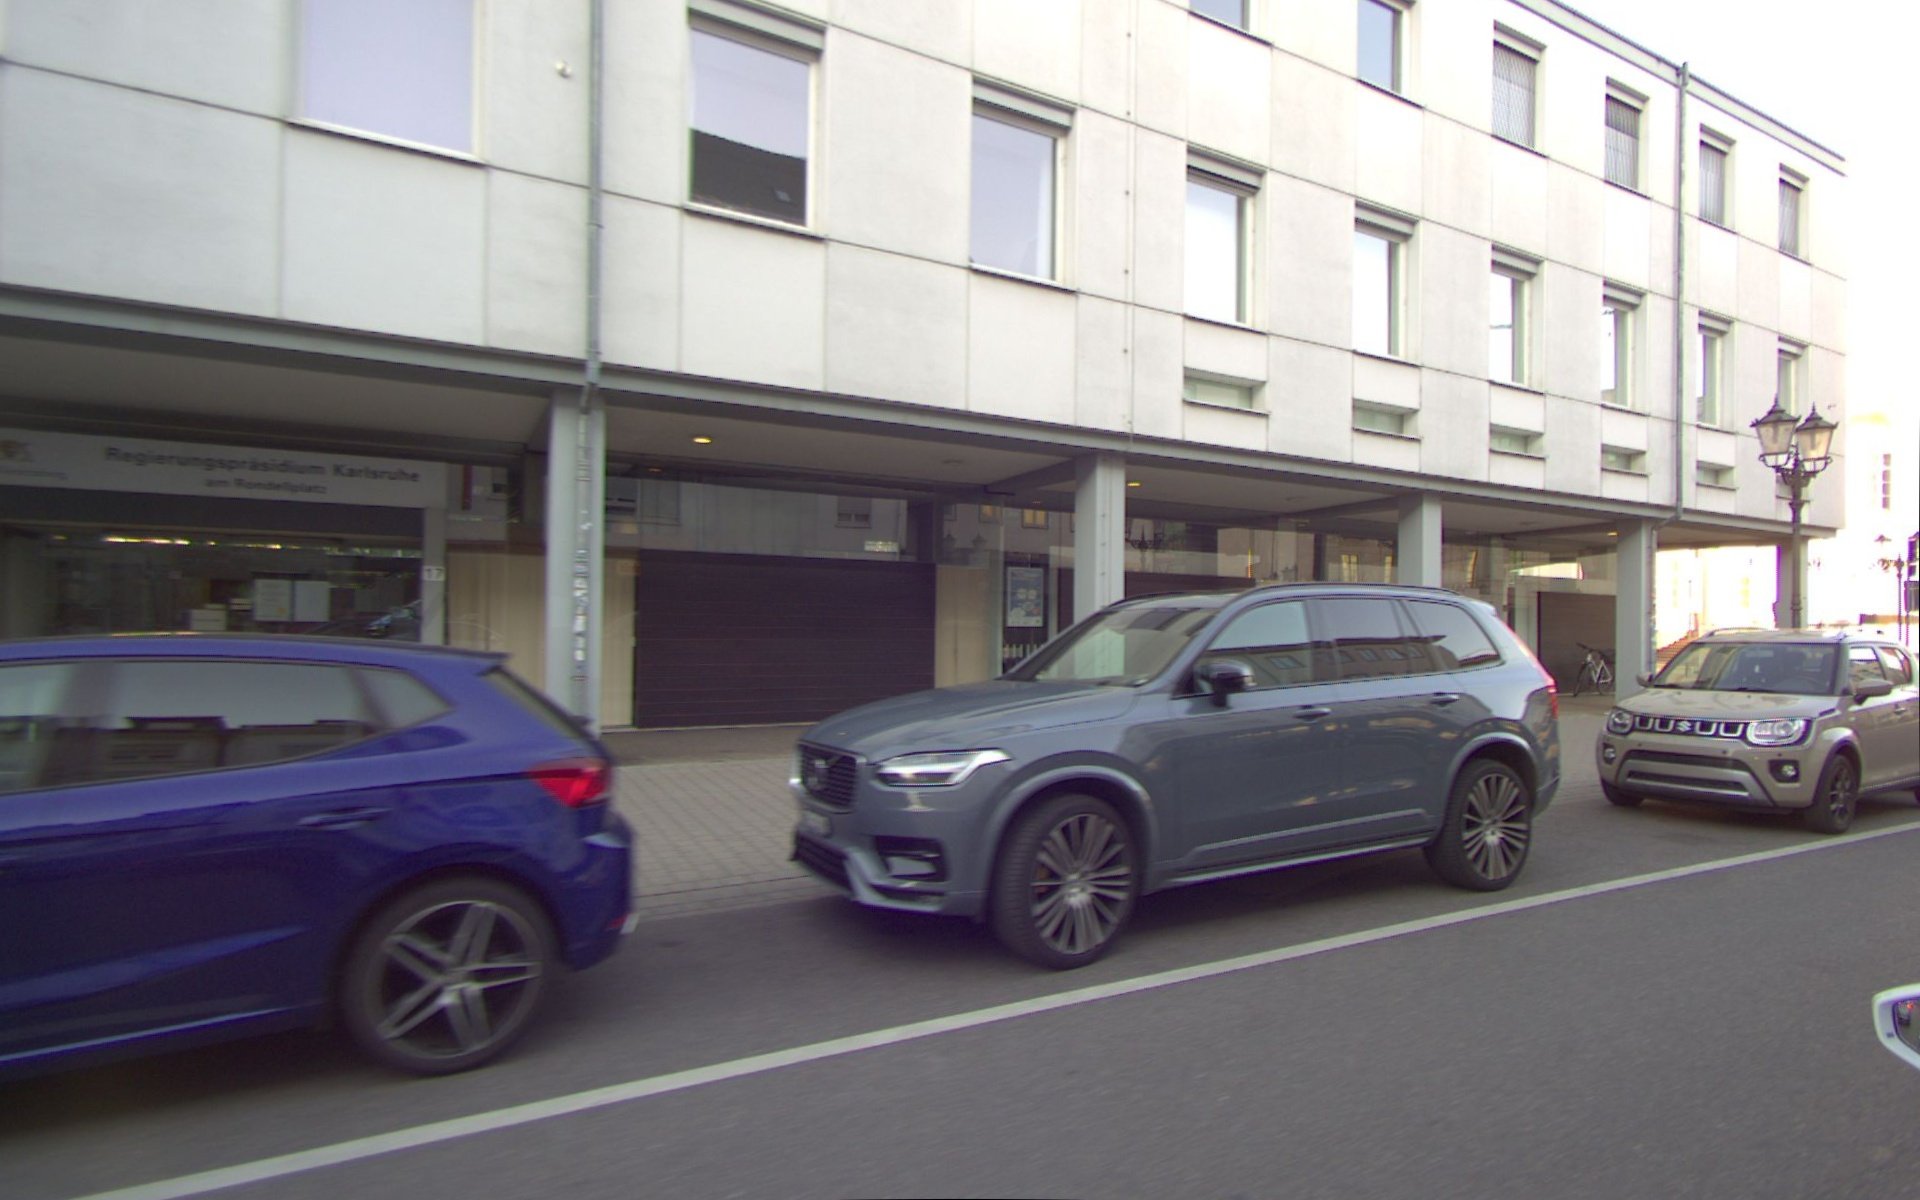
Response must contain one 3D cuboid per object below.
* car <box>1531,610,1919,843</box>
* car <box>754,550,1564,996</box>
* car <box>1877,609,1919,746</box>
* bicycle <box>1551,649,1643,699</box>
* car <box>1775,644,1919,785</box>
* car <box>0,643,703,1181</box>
[{"bbox_3d":[7.292,0.981,9.184,3.956,1.684,1.983,1,-2,-32],"label":"car"},{"bbox_3d":[1.250,0.760,5.921,4.460,1.751,1.986,1,-2,-29],"label":"car"},{"bbox_3d":[15.145,1.090,14.457,4.738,1.840,1.980,1,-1,-36],"label":"car"},{"bbox_3d":[13.865,1.589,21.841,2.308,0.996,0.729,1,-1,-31],"label":"bicycle"},{"bbox_3d":[11.152,1.214,11.438,4.059,1.371,1.669,1,-1,-32],"label":"car"},{"bbox_3d":[-3.055,0.866,3.391,3.952,1.418,1.665,1,-2,-30],"label":"car"}]
